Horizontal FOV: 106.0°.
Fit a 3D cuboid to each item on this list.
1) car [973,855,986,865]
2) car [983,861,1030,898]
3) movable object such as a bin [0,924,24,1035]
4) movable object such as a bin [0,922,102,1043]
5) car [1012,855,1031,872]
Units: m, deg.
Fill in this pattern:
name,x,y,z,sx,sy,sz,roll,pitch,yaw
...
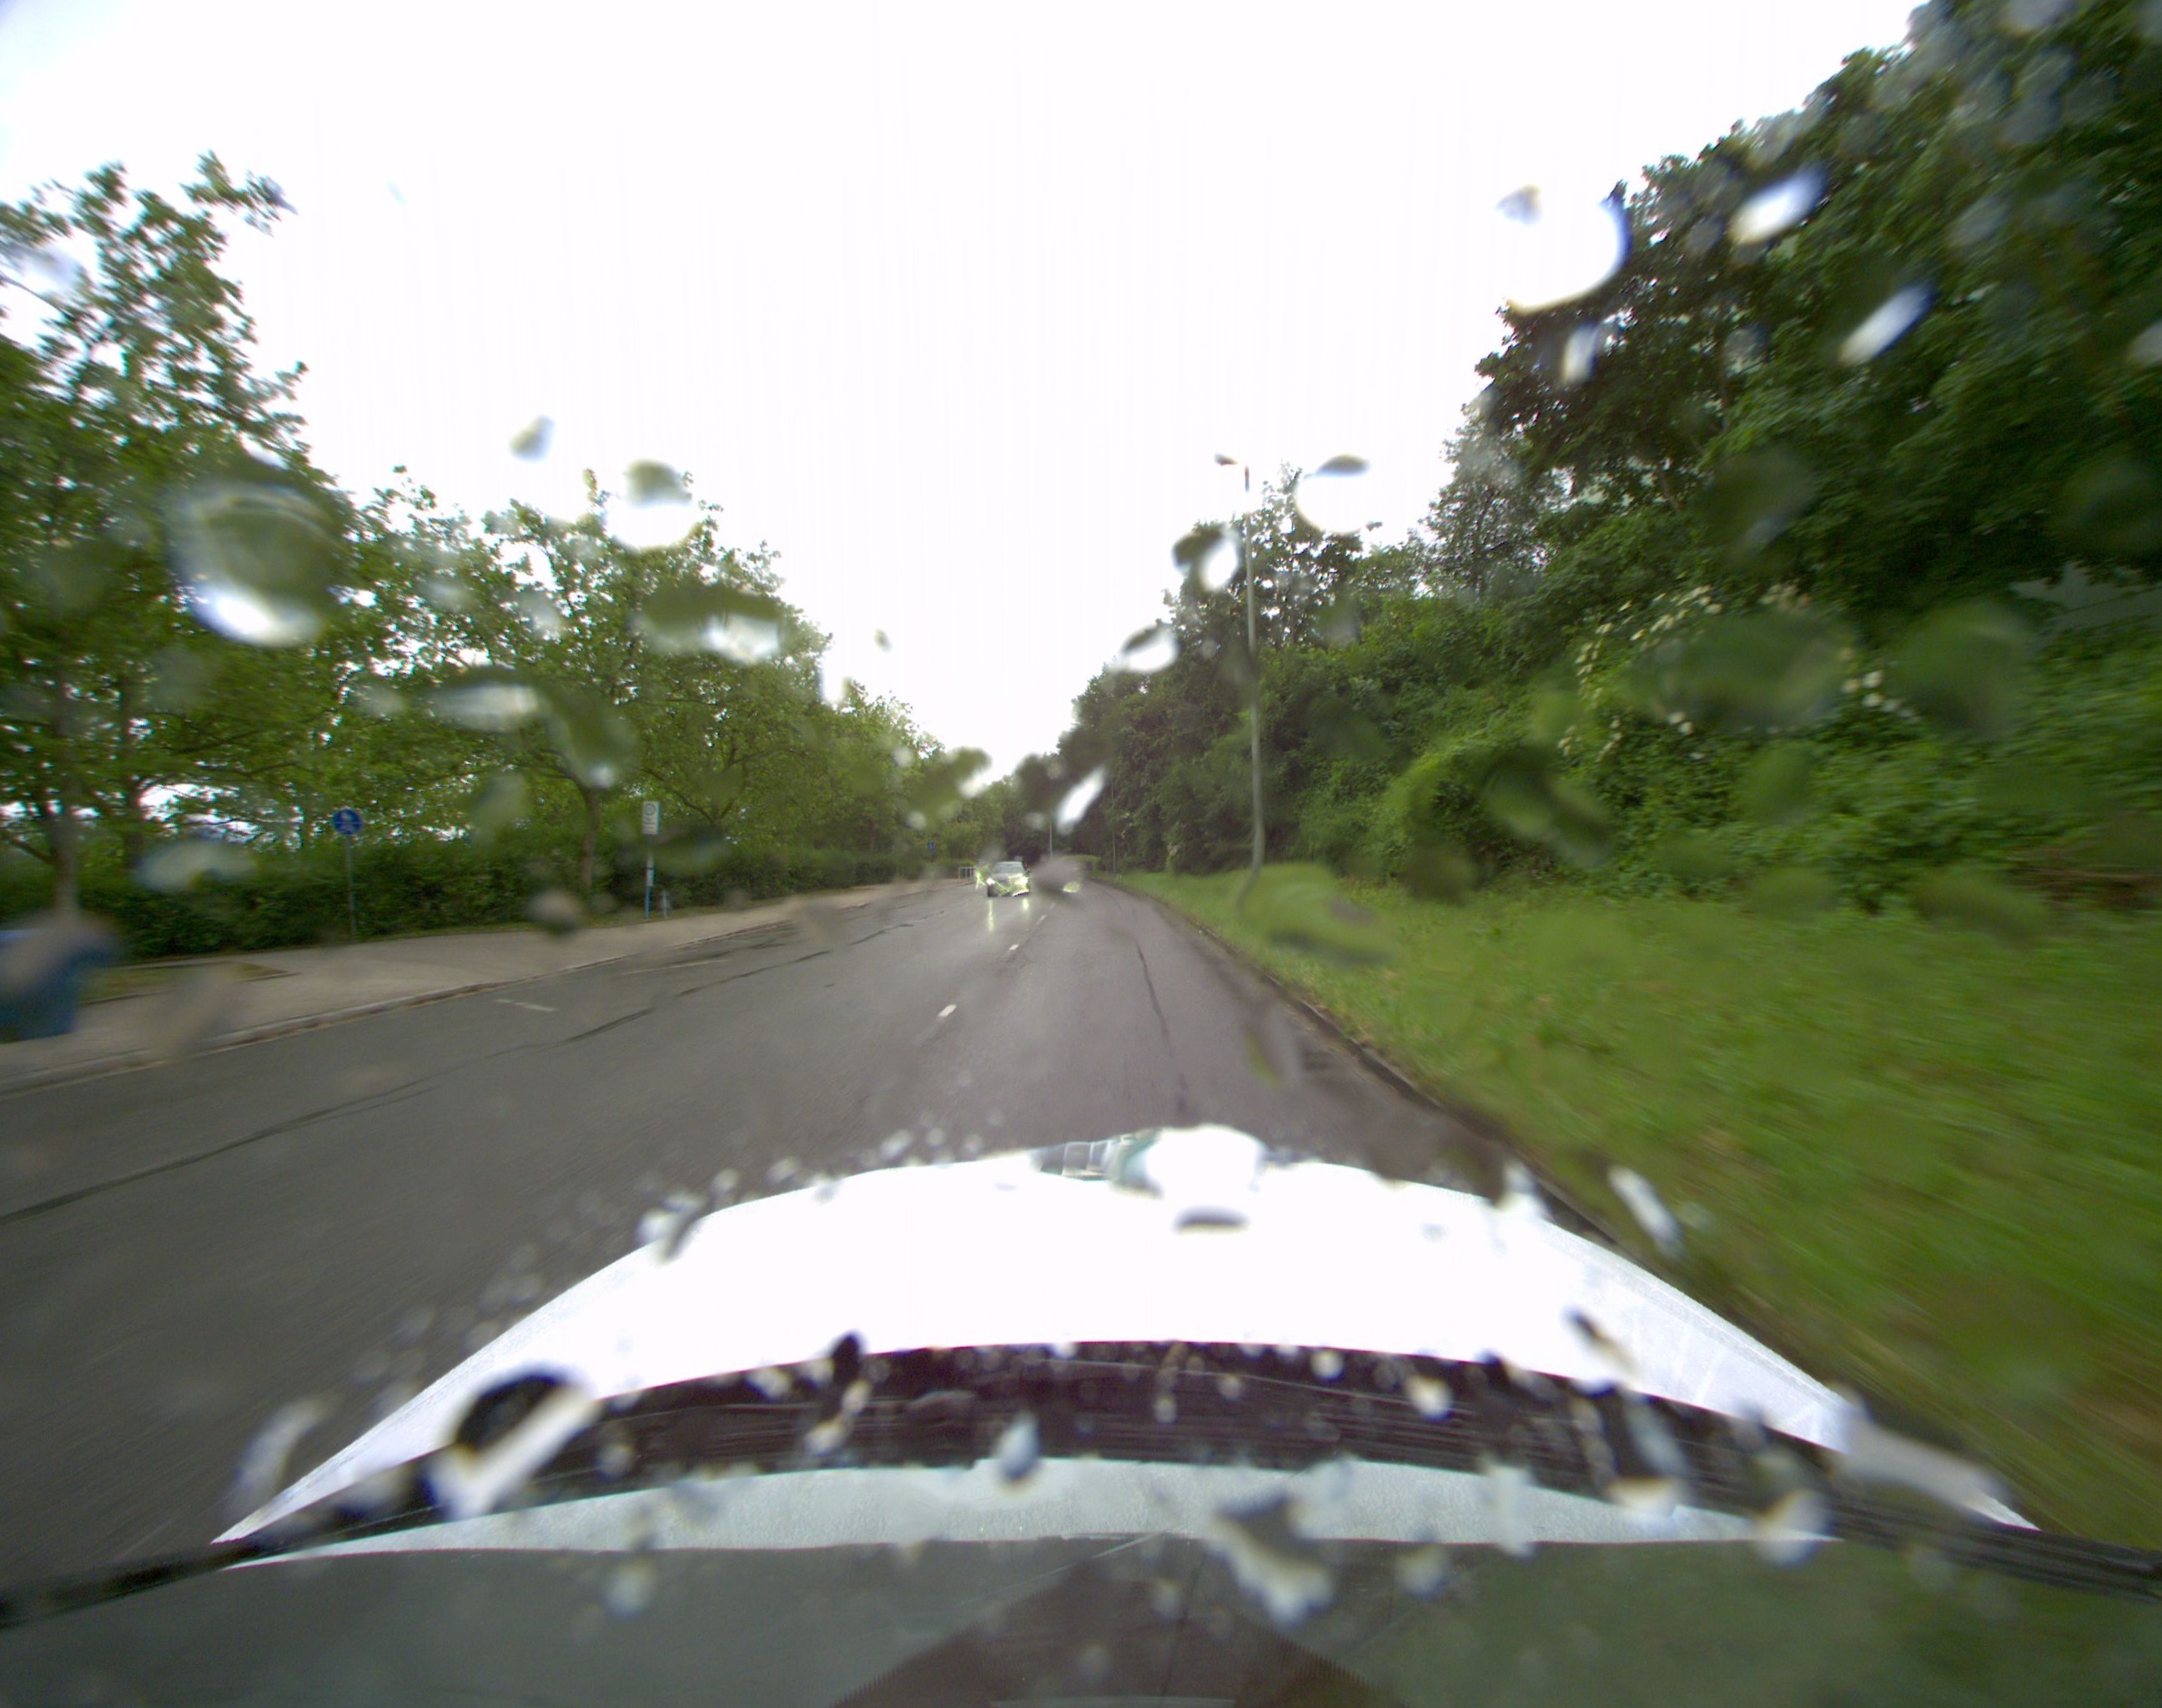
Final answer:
name,x,y,z,sx,sy,sz,roll,pitch,yaw
car,-17.523,1.047,140.208,1.994,1.816,3.986,0,-1,-10
car,-3.219,1.073,35.897,1.822,1.465,3.996,-3,-1,-3
movable object such as a bin,-11.211,1.276,8.073,0.564,1.098,0.672,1,0,3
movable object such as a bin,-10.603,1.274,8.232,0.564,1.098,0.672,1,0,3
car,-7.070,1.098,96.587,1.984,1.926,3.990,-1,0,-7
